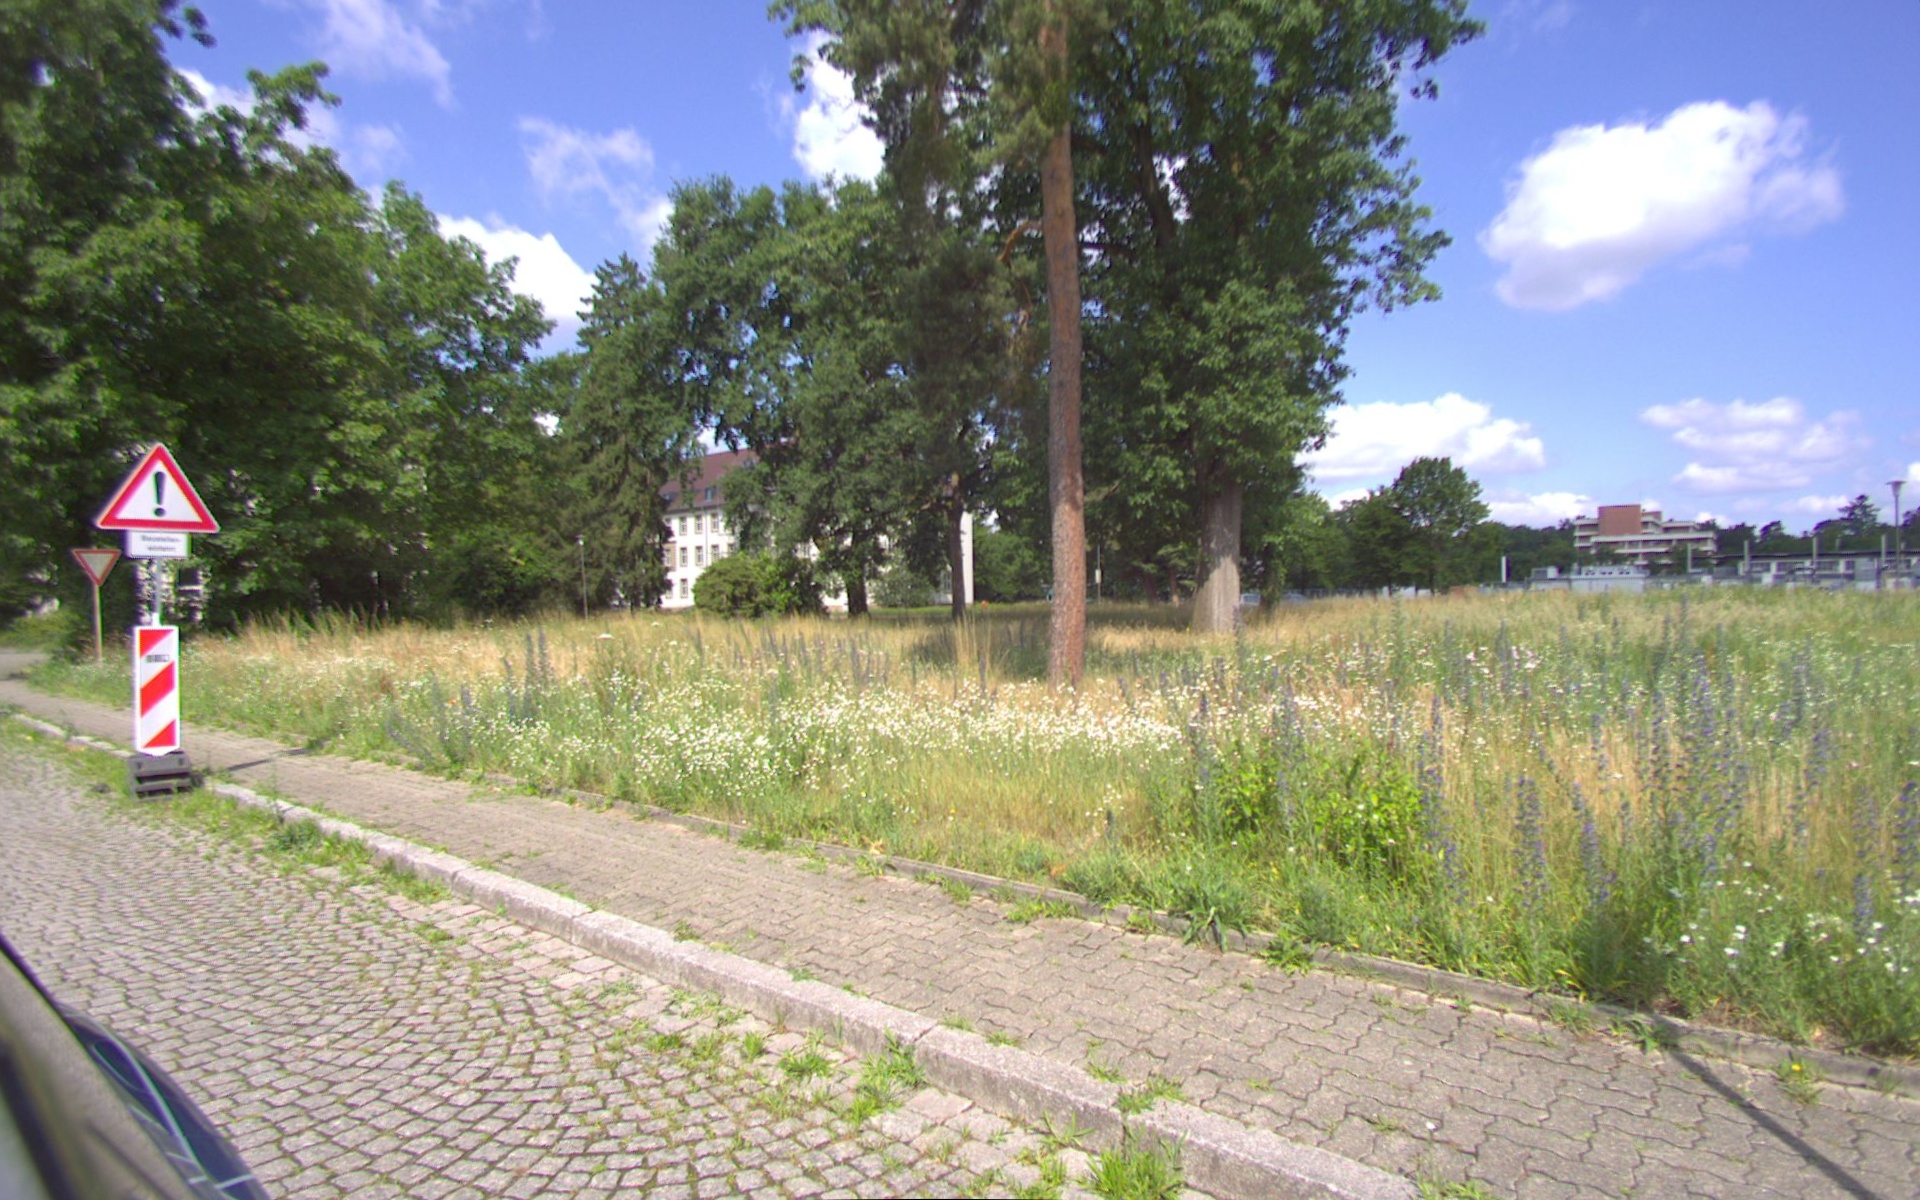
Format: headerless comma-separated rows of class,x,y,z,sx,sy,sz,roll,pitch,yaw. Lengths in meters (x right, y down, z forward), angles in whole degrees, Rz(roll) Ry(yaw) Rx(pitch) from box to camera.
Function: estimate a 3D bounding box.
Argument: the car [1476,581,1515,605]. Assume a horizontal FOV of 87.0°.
car,40.257,-0.542,76.104,1.898,1.715,4.027,-1,0,38
